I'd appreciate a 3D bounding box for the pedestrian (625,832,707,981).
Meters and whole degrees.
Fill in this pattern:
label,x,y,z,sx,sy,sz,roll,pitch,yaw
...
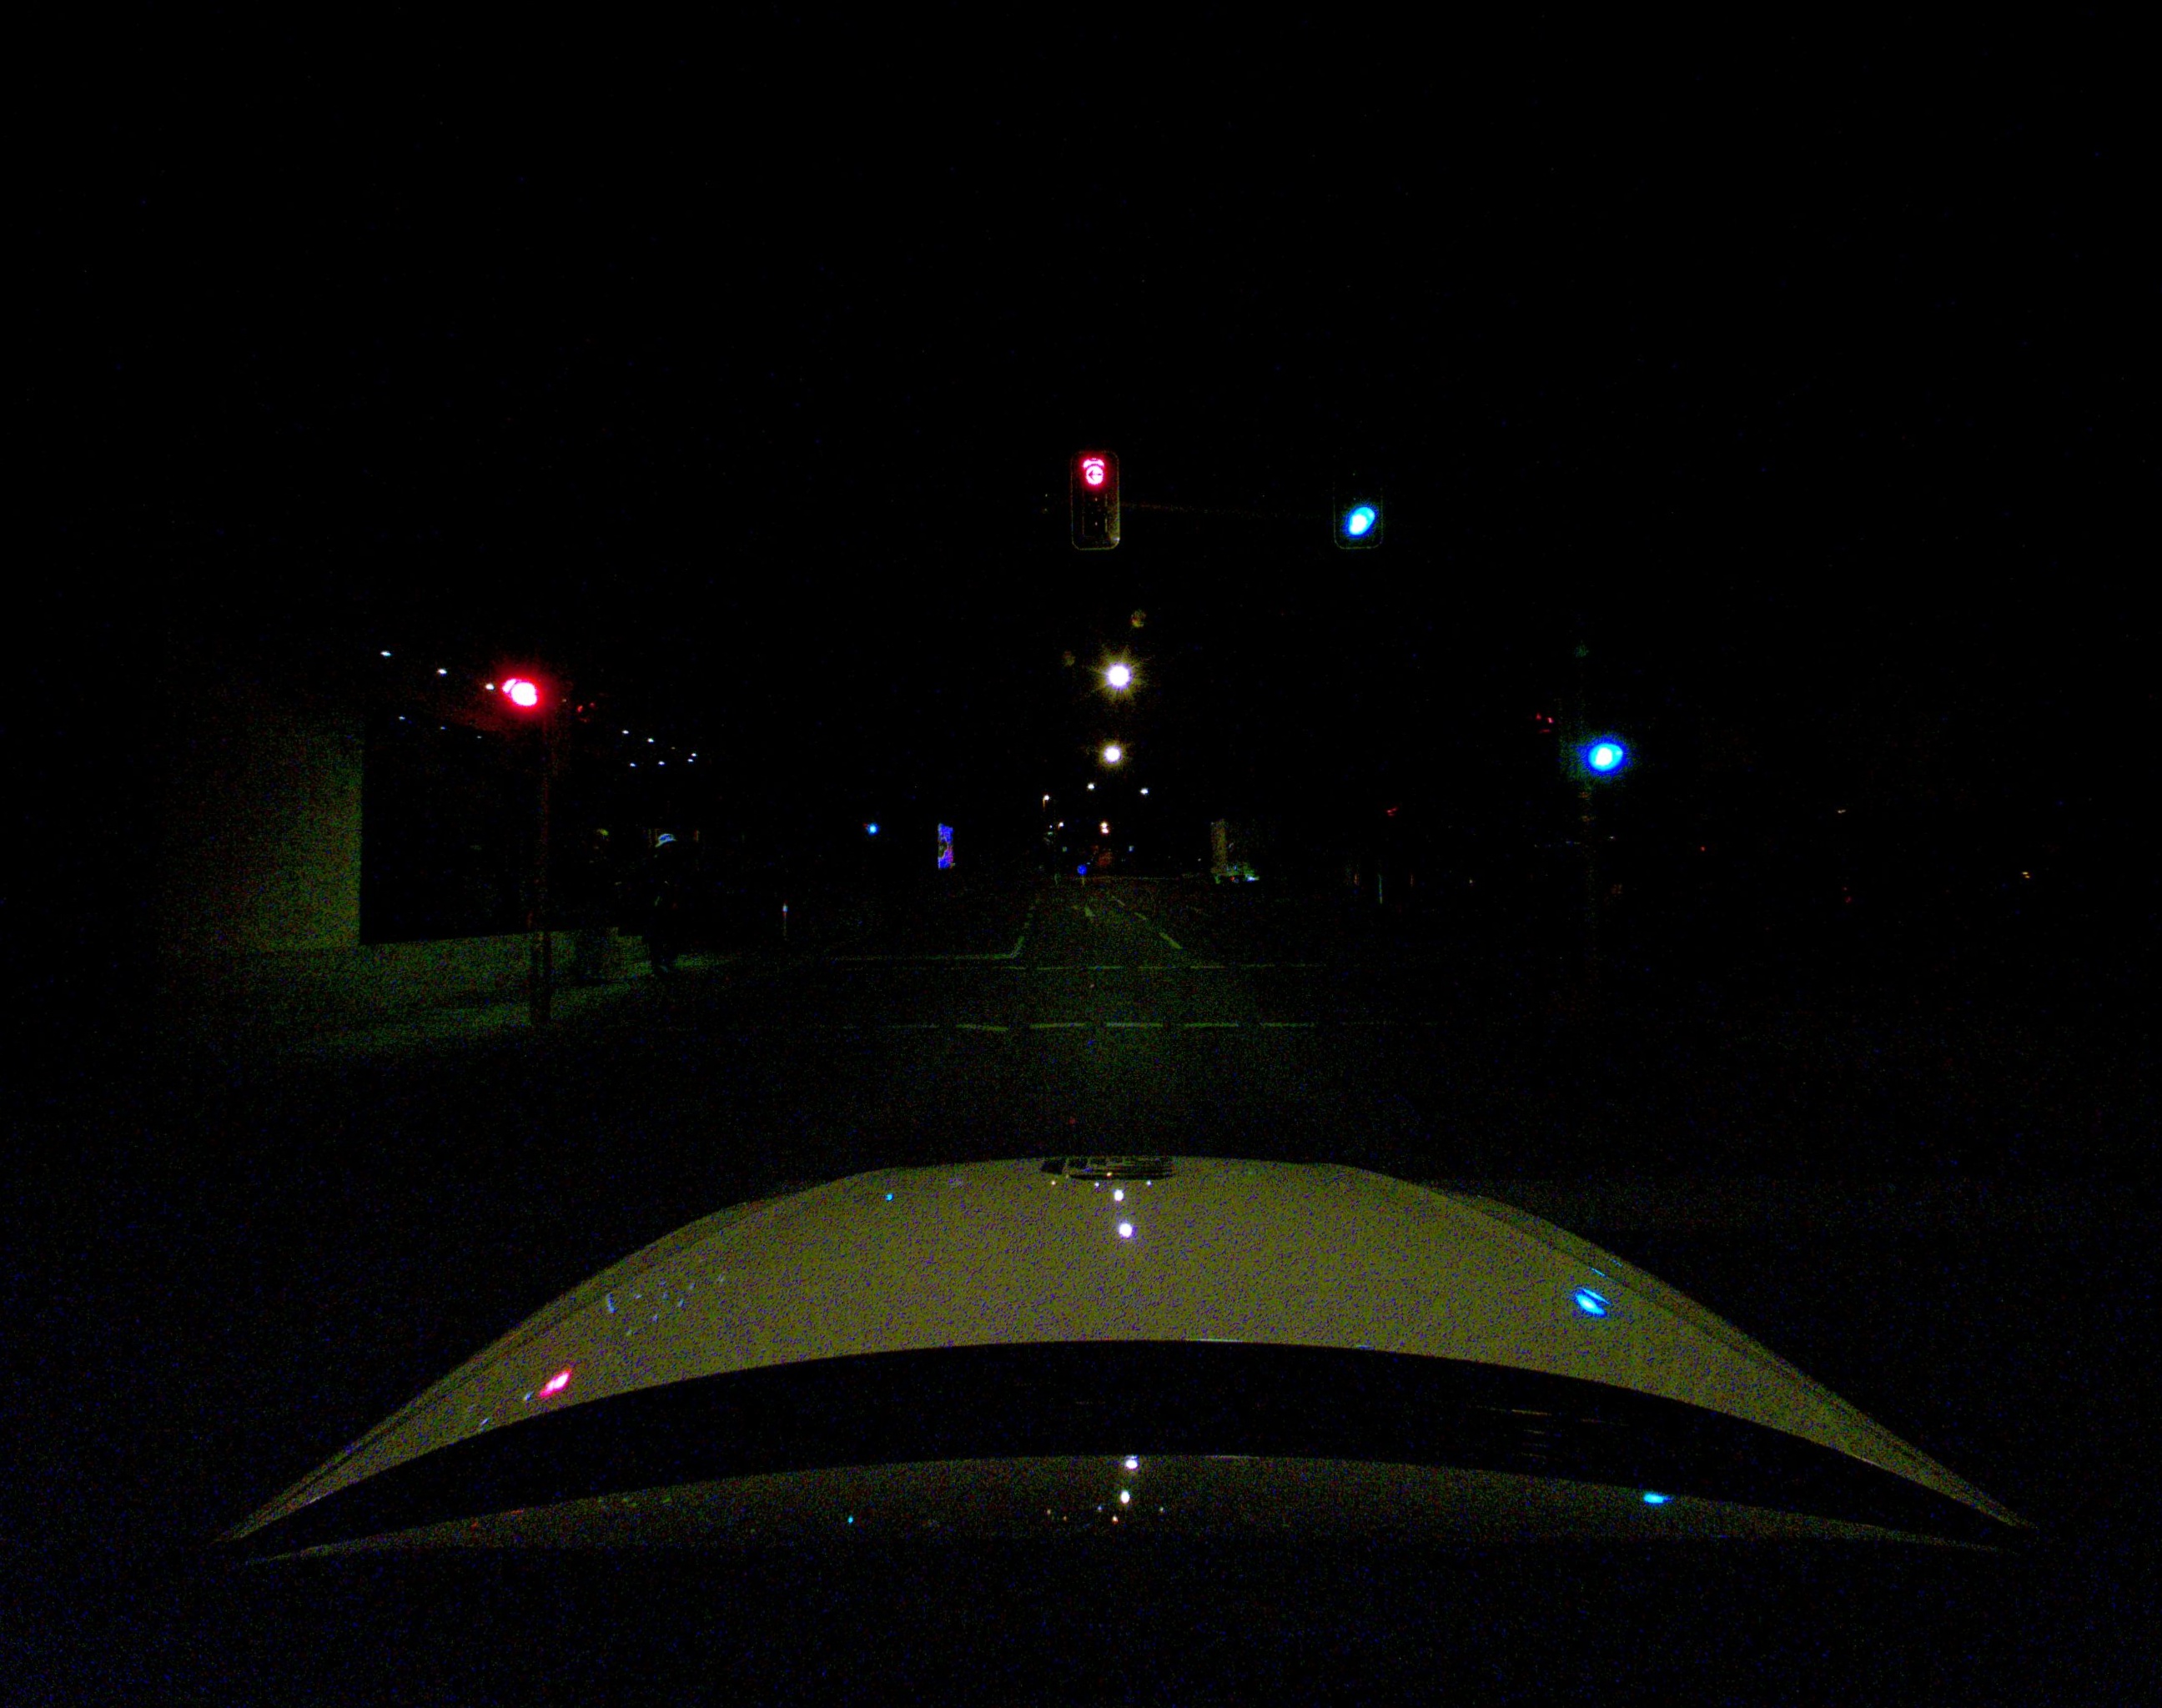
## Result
label,x,y,z,sx,sy,sz,roll,pitch,yaw
pedestrian,-5.155,0.633,10.153,0.568,1.778,0.737,1,-1,1

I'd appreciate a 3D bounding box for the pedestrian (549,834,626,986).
label,x,y,z,sx,sy,sz,roll,pitch,yaw
pedestrian,-5.772,0.641,9.548,0.568,1.731,0.544,0,-1,1

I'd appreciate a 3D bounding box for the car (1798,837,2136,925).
label,x,y,z,sx,sy,sz,roll,pitch,yaw
car,17.451,0.565,16.280,4.342,1.560,1.807,-2,-3,8

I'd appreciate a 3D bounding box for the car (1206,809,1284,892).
label,x,y,z,sx,sy,sz,roll,pitch,yaw
car,6.762,-0.120,34.293,2.287,3.093,5.845,-2,-1,3

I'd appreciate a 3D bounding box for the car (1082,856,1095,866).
label,x,y,z,sx,sy,sz,roll,pitch,yaw
car,1.259,1.169,134.549,1.901,1.557,3.906,0,-1,2
